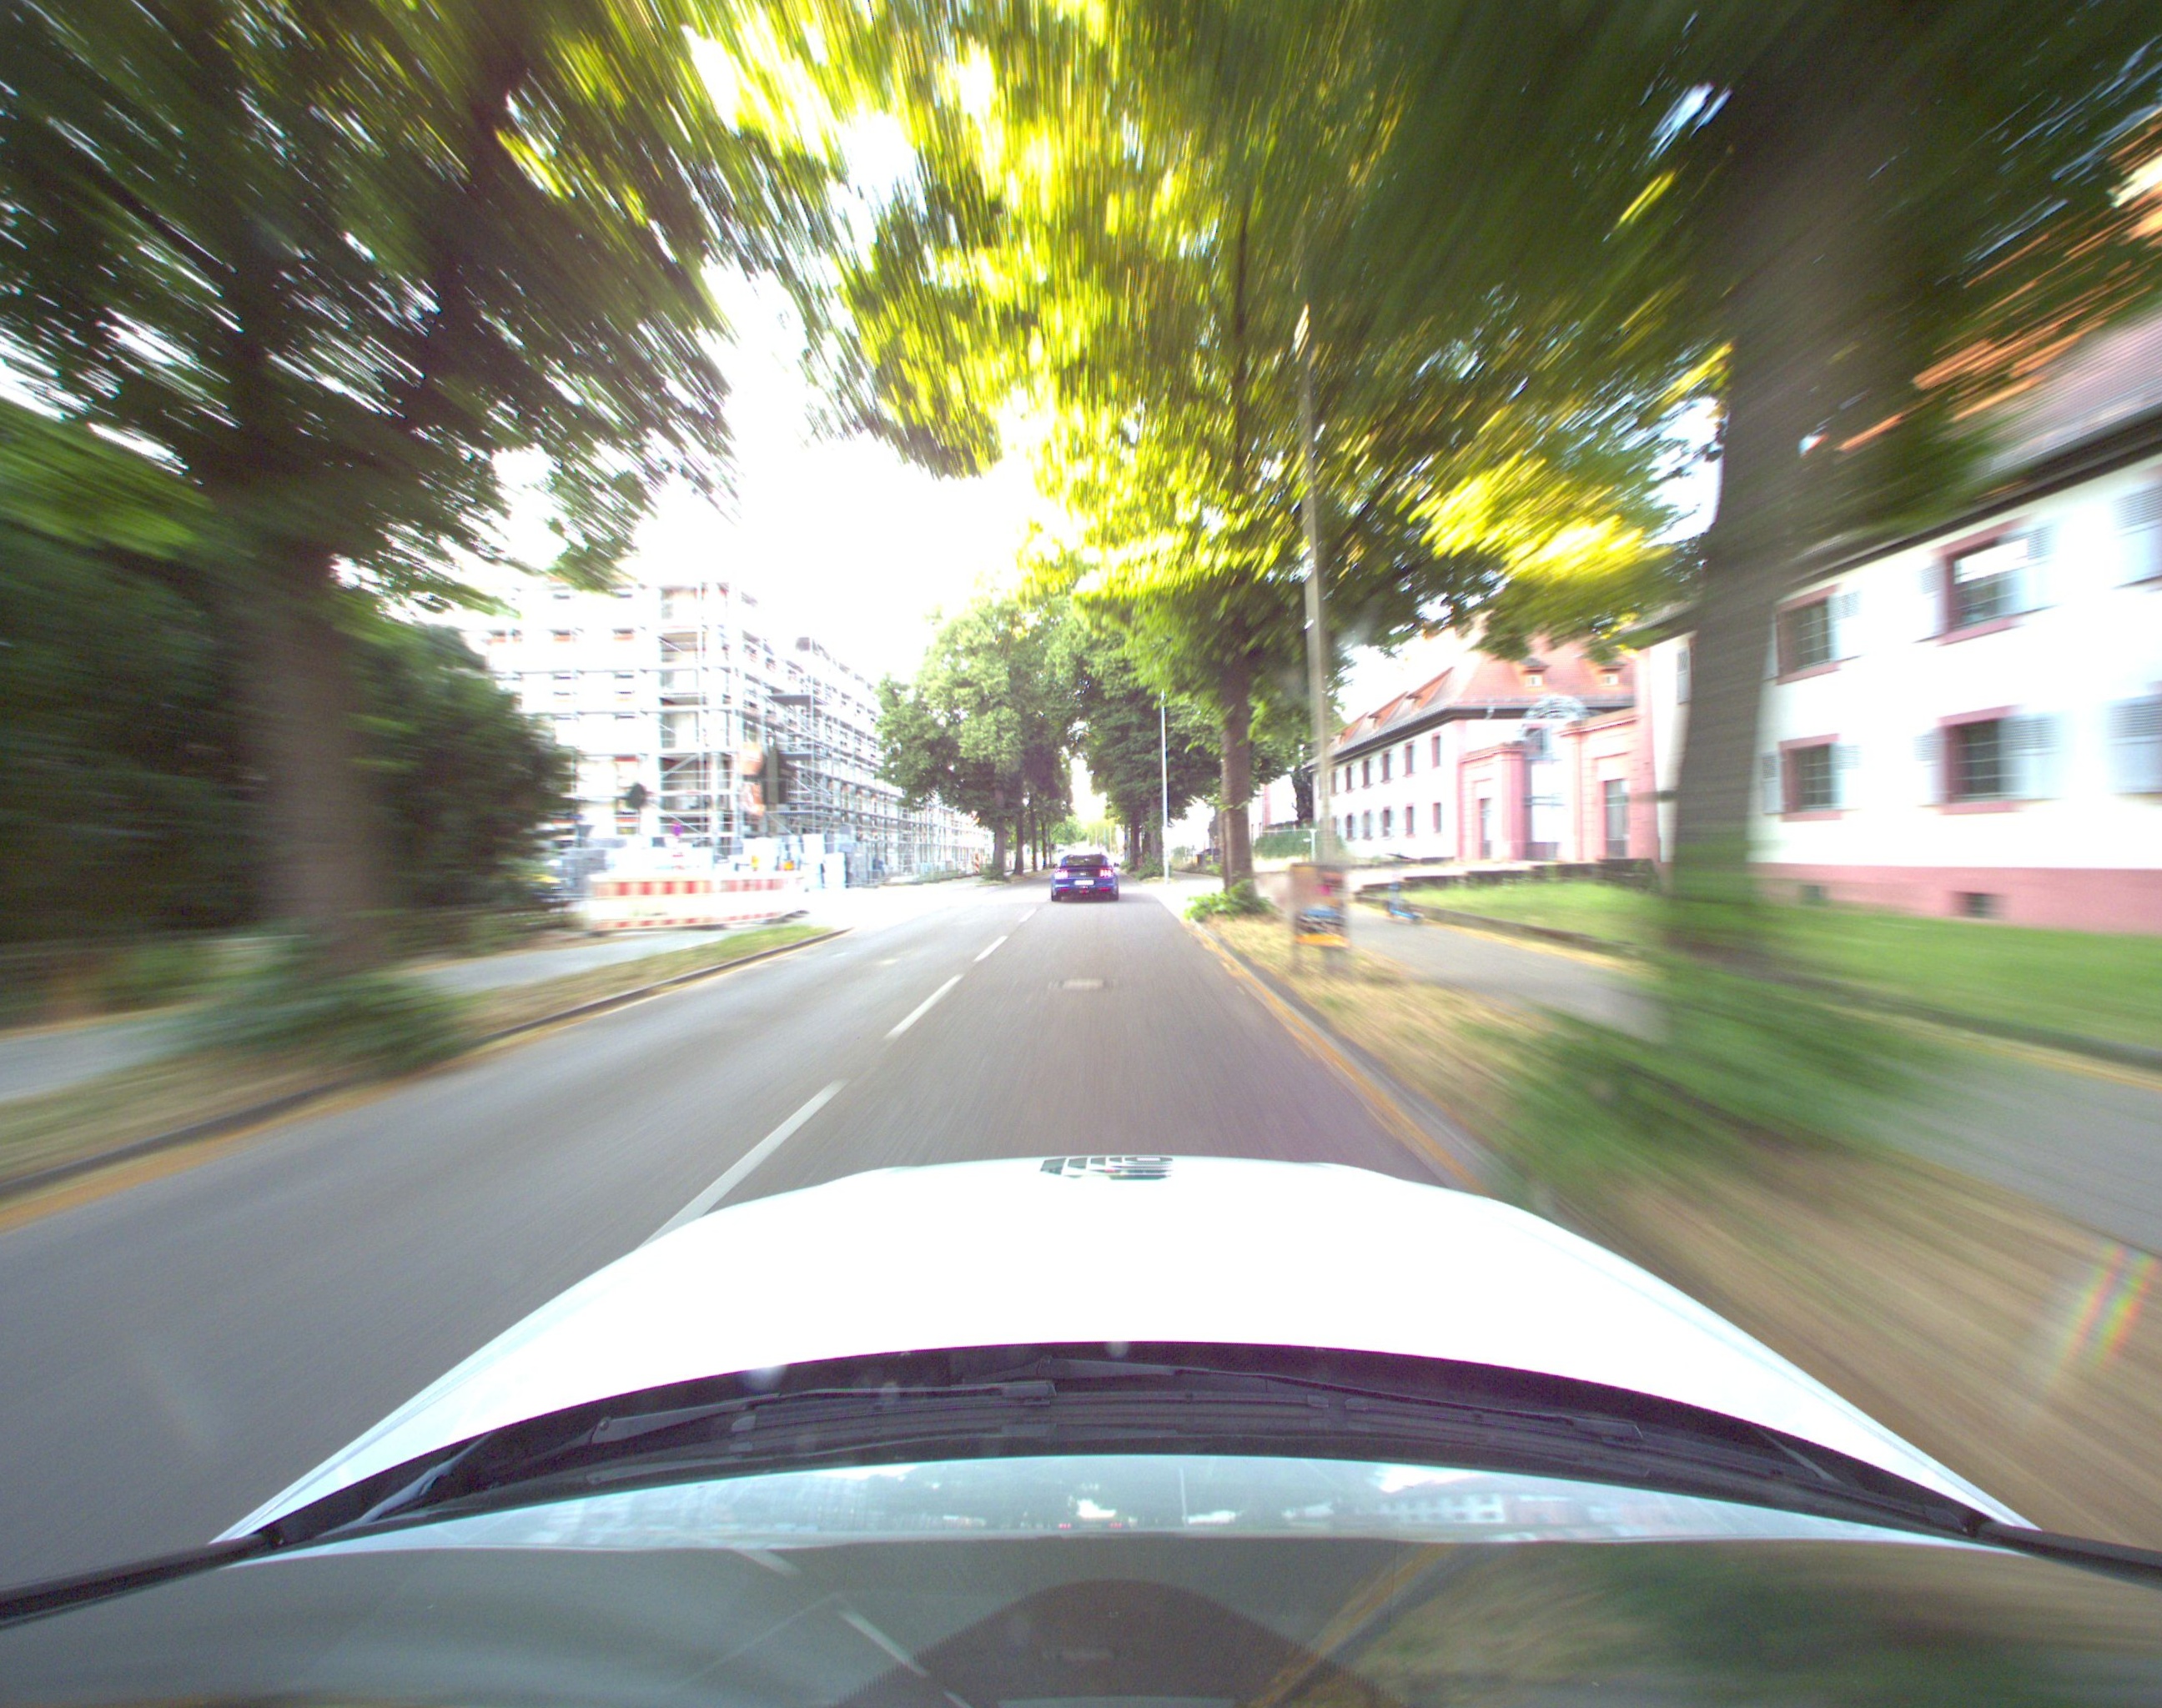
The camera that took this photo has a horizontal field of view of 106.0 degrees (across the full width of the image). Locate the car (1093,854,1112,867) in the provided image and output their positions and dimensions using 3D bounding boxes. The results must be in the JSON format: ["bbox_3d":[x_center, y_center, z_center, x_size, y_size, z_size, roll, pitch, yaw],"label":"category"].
[{"bbox_3d":[2.383,0.687,89.054,1.938,1.326,4.004,0,0,3],"label":"car"}]

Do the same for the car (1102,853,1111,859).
[{"bbox_3d":[5.535,0.365,176.448,1.940,1.326,4.001,0,0,1],"label":"car"}]

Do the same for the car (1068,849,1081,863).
[{"bbox_3d":[-1.246,0.409,158.749,2.483,2.697,5.831,-2,0,1],"label":"car"}]

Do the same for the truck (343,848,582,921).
[{"bbox_3d":[-18.430,0.892,24.458,5.622,1.913,2.041,-2,-1,1],"label":"truck"}]

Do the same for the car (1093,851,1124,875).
[{"bbox_3d":[1.882,0.560,54.504,1.938,1.527,4.004,0,0,3],"label":"car"}]

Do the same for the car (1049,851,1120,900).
[{"bbox_3d":[0.149,0.574,24.150,1.940,1.326,4.001,0,0,1],"label":"car"}]

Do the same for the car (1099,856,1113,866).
[{"bbox_3d":[3.469,0.907,112.417,1.940,1.326,4.001,0,0,1],"label":"car"}]

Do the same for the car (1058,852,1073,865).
[{"bbox_3d":[-2.784,0.753,147.498,2.326,2.198,5.313,-2,0,3],"label":"car"}]

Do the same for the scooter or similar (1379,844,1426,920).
[{"bbox_3d":[5.719,0.482,14.530,0.238,1.276,1.265,-2,-1,-3],"label":"scooter or similar"}]
